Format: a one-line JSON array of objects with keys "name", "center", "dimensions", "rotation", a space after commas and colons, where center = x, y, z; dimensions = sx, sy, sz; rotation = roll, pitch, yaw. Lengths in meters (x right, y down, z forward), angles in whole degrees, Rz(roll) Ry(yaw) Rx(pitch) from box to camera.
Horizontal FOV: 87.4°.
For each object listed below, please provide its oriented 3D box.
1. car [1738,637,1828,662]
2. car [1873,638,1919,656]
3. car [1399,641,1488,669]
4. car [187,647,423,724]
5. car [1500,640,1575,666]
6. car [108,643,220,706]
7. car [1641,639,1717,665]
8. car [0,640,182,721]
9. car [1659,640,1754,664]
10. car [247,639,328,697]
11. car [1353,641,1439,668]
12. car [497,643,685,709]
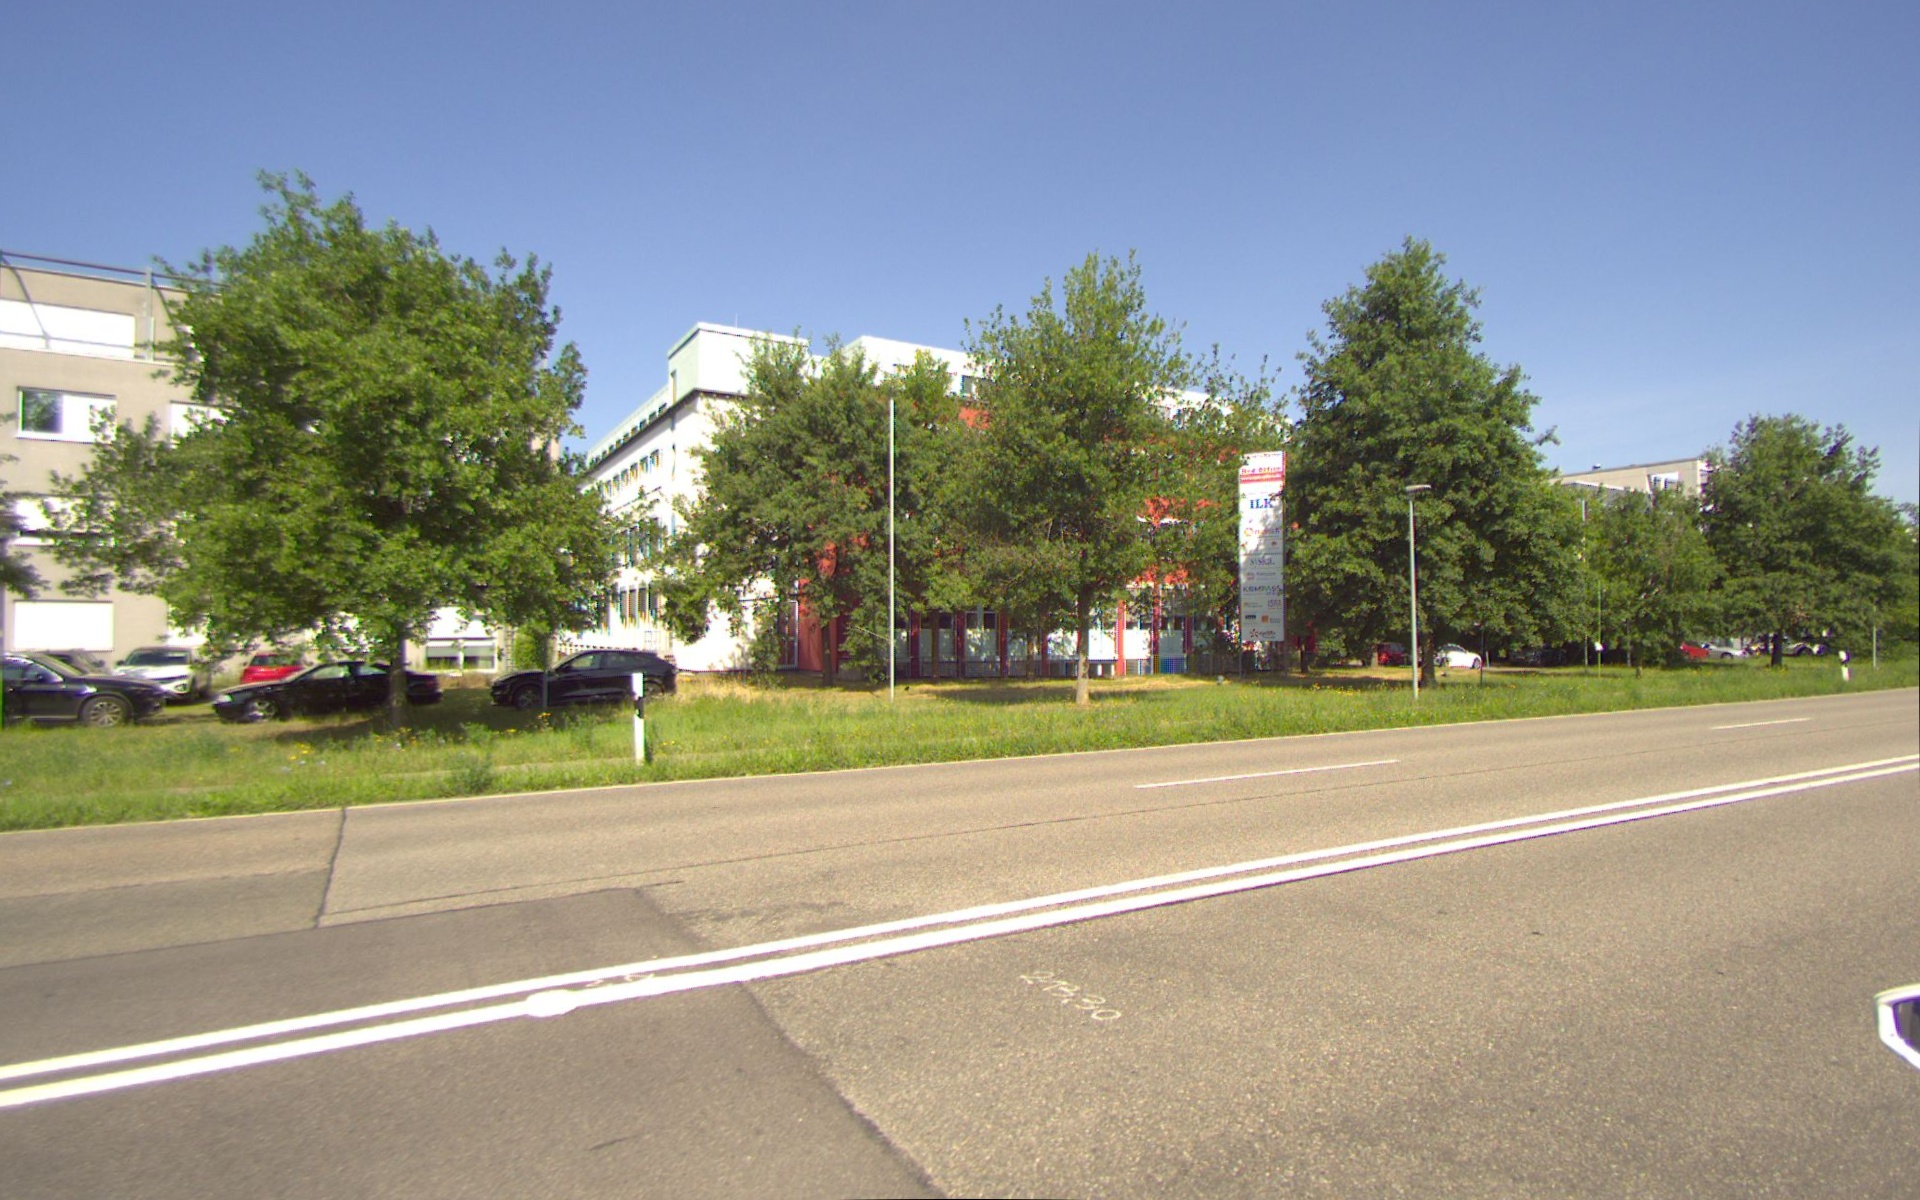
[{"name": "car", "center": [58.707, 3.504, 71.752], "dimensions": [1.976, 1.672, 4.574], "rotation": [1, -2, -30]}, {"name": "car", "center": [81.416, 4.029, 85.854], "dimensions": [1.976, 1.456, 4.574], "rotation": [1, -2, -30]}, {"name": "car", "center": [26.814, 3.027, 55.718], "dimensions": [4.893, 1.456, 1.985], "rotation": [1, -2, -29]}, {"name": "car", "center": [-15.214, 1.940, 23.648], "dimensions": [4.495, 1.599, 1.735], "rotation": [1, -2, -30]}, {"name": "car", "center": [35.111, 3.195, 61.051], "dimensions": [4.556, 1.456, 1.984], "rotation": [1, -2, -30]}, {"name": "car", "center": [-22.093, 2.014, 28.029], "dimensions": [1.866, 1.557, 3.968], "rotation": [1, -2, -30]}, {"name": "car", "center": [43.933, 3.157, 61.404], "dimensions": [4.552, 1.456, 1.986], "rotation": [1, -2, -28]}, {"name": "car", "center": [-19.361, 1.664, 21.124], "dimensions": [4.495, 1.599, 1.735], "rotation": [1, -2, -30]}, {"name": "car", "center": [48.624, 3.348, 65.493], "dimensions": [1.976, 1.456, 4.574], "rotation": [1, -2, -30]}, {"name": "car", "center": [-19.966, 1.960, 29.943], "dimensions": [1.722, 1.557, 3.968], "rotation": [1, -2, -30]}, {"name": "car", "center": [25.050, 3.090, 57.688], "dimensions": [4.893, 1.456, 1.985], "rotation": [1, -2, -29]}, {"name": "car", "center": [-9.798, 1.972, 26.778], "dimensions": [4.495, 1.599, 1.735], "rotation": [1, -2, -30]}]
